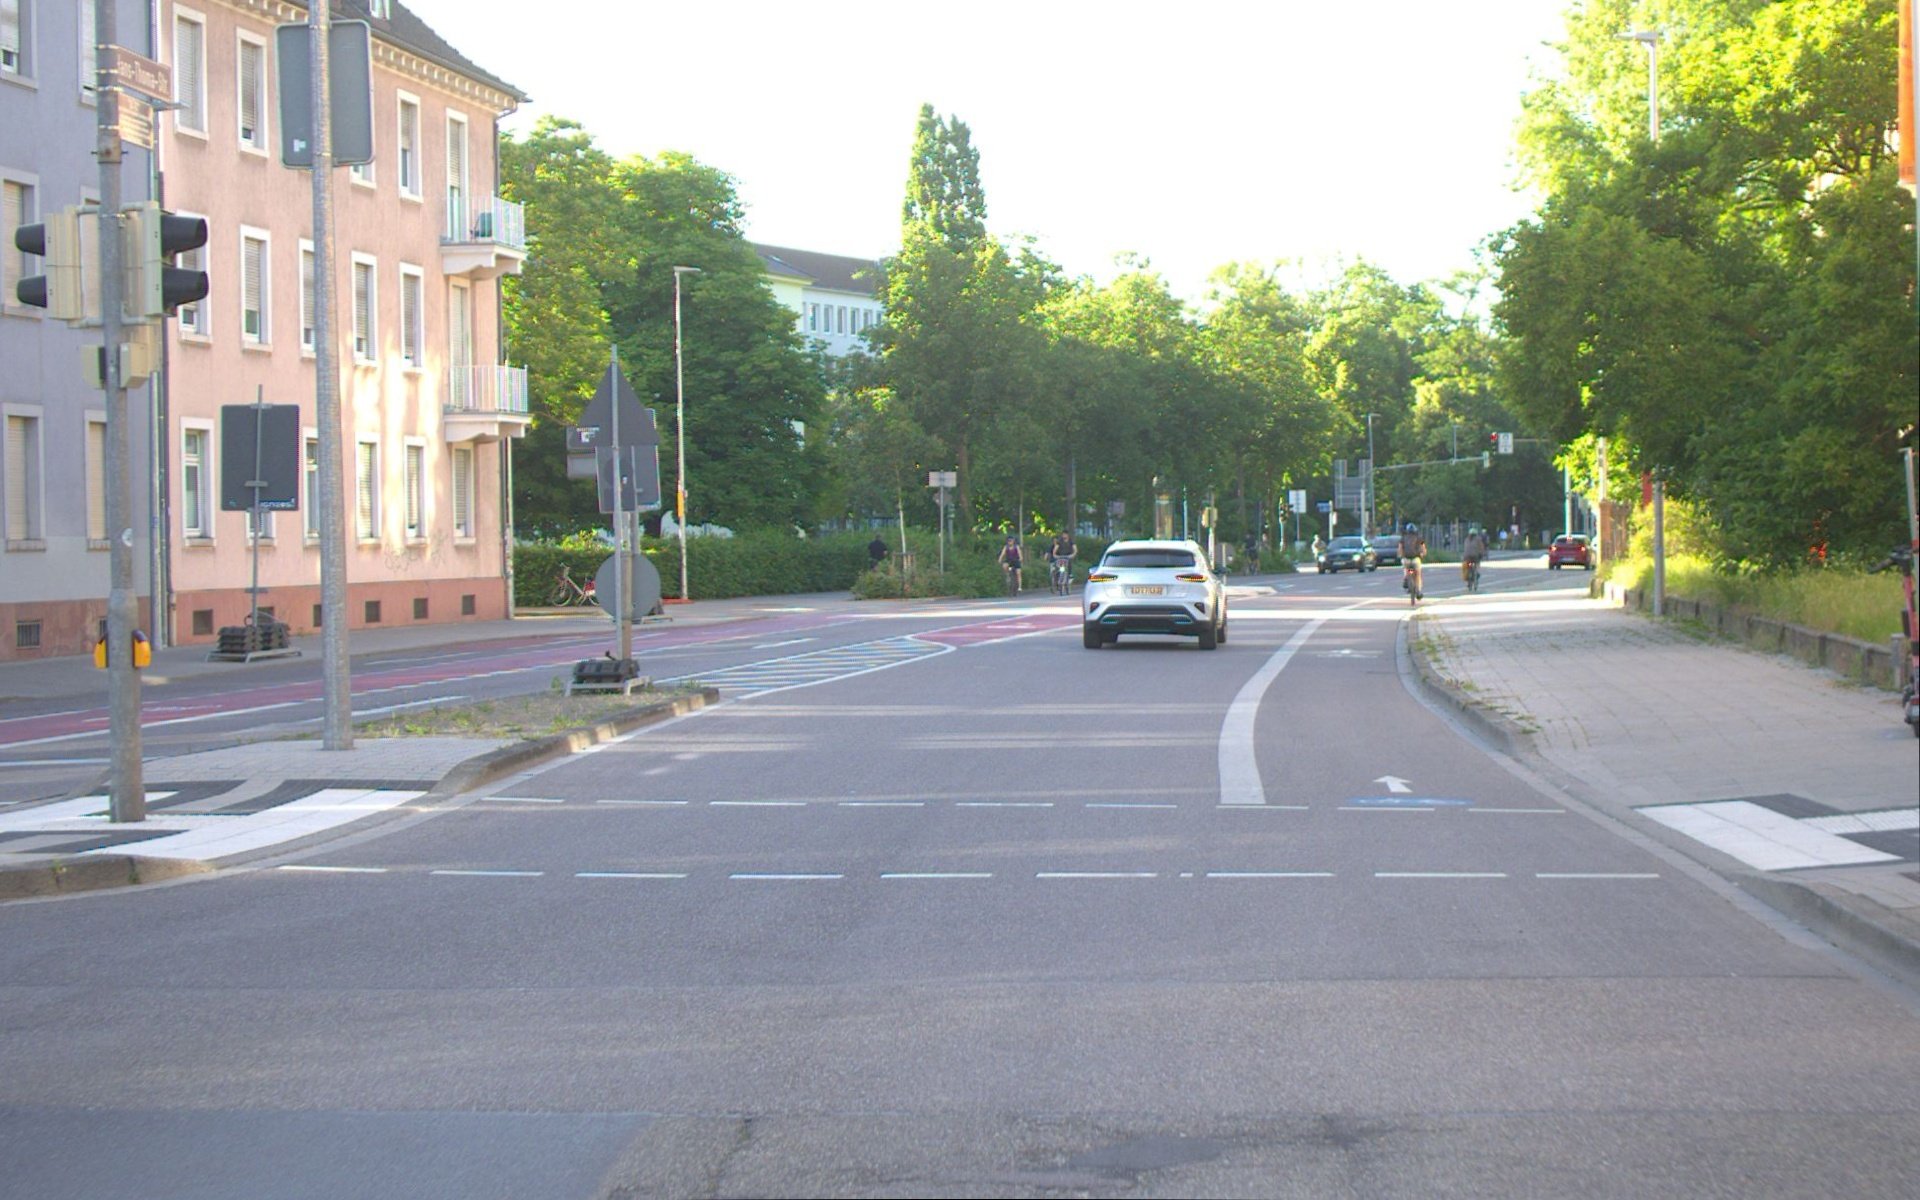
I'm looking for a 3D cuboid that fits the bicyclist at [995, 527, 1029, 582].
[{"bbox_3d":[1.446,-1.258,94.996,0.738,1.480,0.665,-3,1,13],"label":"bicyclist"}]

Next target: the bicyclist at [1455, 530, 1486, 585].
[{"bbox_3d":[14.355,-1.202,96.608,0.748,1.532,0.969,0,1,16],"label":"bicyclist"}]

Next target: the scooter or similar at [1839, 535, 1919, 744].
[{"bbox_3d":[6.235,0.236,22.737,0.555,1.304,1.832,-1,1,7],"label":"scooter or similar"}]

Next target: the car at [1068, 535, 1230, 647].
[{"bbox_3d":[2.690,-0.151,48.171,1.994,1.448,3.999,-2,1,7],"label":"car"}]

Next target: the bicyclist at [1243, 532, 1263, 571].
[{"bbox_3d":[11.701,-1.932,137.283,0.629,1.517,0.724,-4,1,13],"label":"bicyclist"}]

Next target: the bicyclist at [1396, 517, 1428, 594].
[{"bbox_3d":[9.597,-0.951,72.920,0.636,1.609,1.283,0,1,9],"label":"bicyclist"}]

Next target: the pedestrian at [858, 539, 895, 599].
[{"bbox_3d":[-2.609,-0.969,107.037,0.856,1.845,1.001,-2,1,14],"label":"pedestrian"}]

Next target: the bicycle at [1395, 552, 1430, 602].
[{"bbox_3d":[9.583,-0.493,72.802,0.643,1.021,2.212,1,1,10],"label":"bicycle"}]

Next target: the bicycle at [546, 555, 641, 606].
[{"bbox_3d":[-9.324,-0.495,87.512,2.321,1.225,0.560,-1,1,15],"label":"bicycle"}]

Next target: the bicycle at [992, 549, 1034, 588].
[{"bbox_3d":[1.475,-0.870,94.974,0.737,0.992,2.108,-2,2,12],"label":"bicycle"}]

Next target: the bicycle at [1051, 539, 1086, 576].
[{"bbox_3d":[3.017,-1.191,95.660,0.646,0.992,2.108,-2,1,10],"label":"bicycle"}]

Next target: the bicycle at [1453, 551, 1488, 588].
[{"bbox_3d":[14.347,-0.860,96.586,0.753,1.022,1.868,0,1,15],"label":"bicycle"}]

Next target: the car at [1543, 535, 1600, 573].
[{"bbox_3d":[25.640,-1.933,144.001,1.930,1.528,3.997,-1,1,16],"label":"car"}]

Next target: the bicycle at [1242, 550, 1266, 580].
[{"bbox_3d":[11.732,-1.402,137.210,0.597,1.117,2.026,-4,0,13],"label":"bicycle"}]

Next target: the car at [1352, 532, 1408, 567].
[{"bbox_3d":[18.472,-2.240,151.033,1.759,1.454,3.997,-1,1,17],"label":"car"}]

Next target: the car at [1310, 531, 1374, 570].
[{"bbox_3d":[15.054,-1.960,135.289,1.813,1.415,4.552,-1,1,15],"label":"car"}]

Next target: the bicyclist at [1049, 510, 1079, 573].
[{"bbox_3d":[2.893,-1.632,95.748,0.636,1.704,0.738,-4,1,10],"label":"bicyclist"}]
